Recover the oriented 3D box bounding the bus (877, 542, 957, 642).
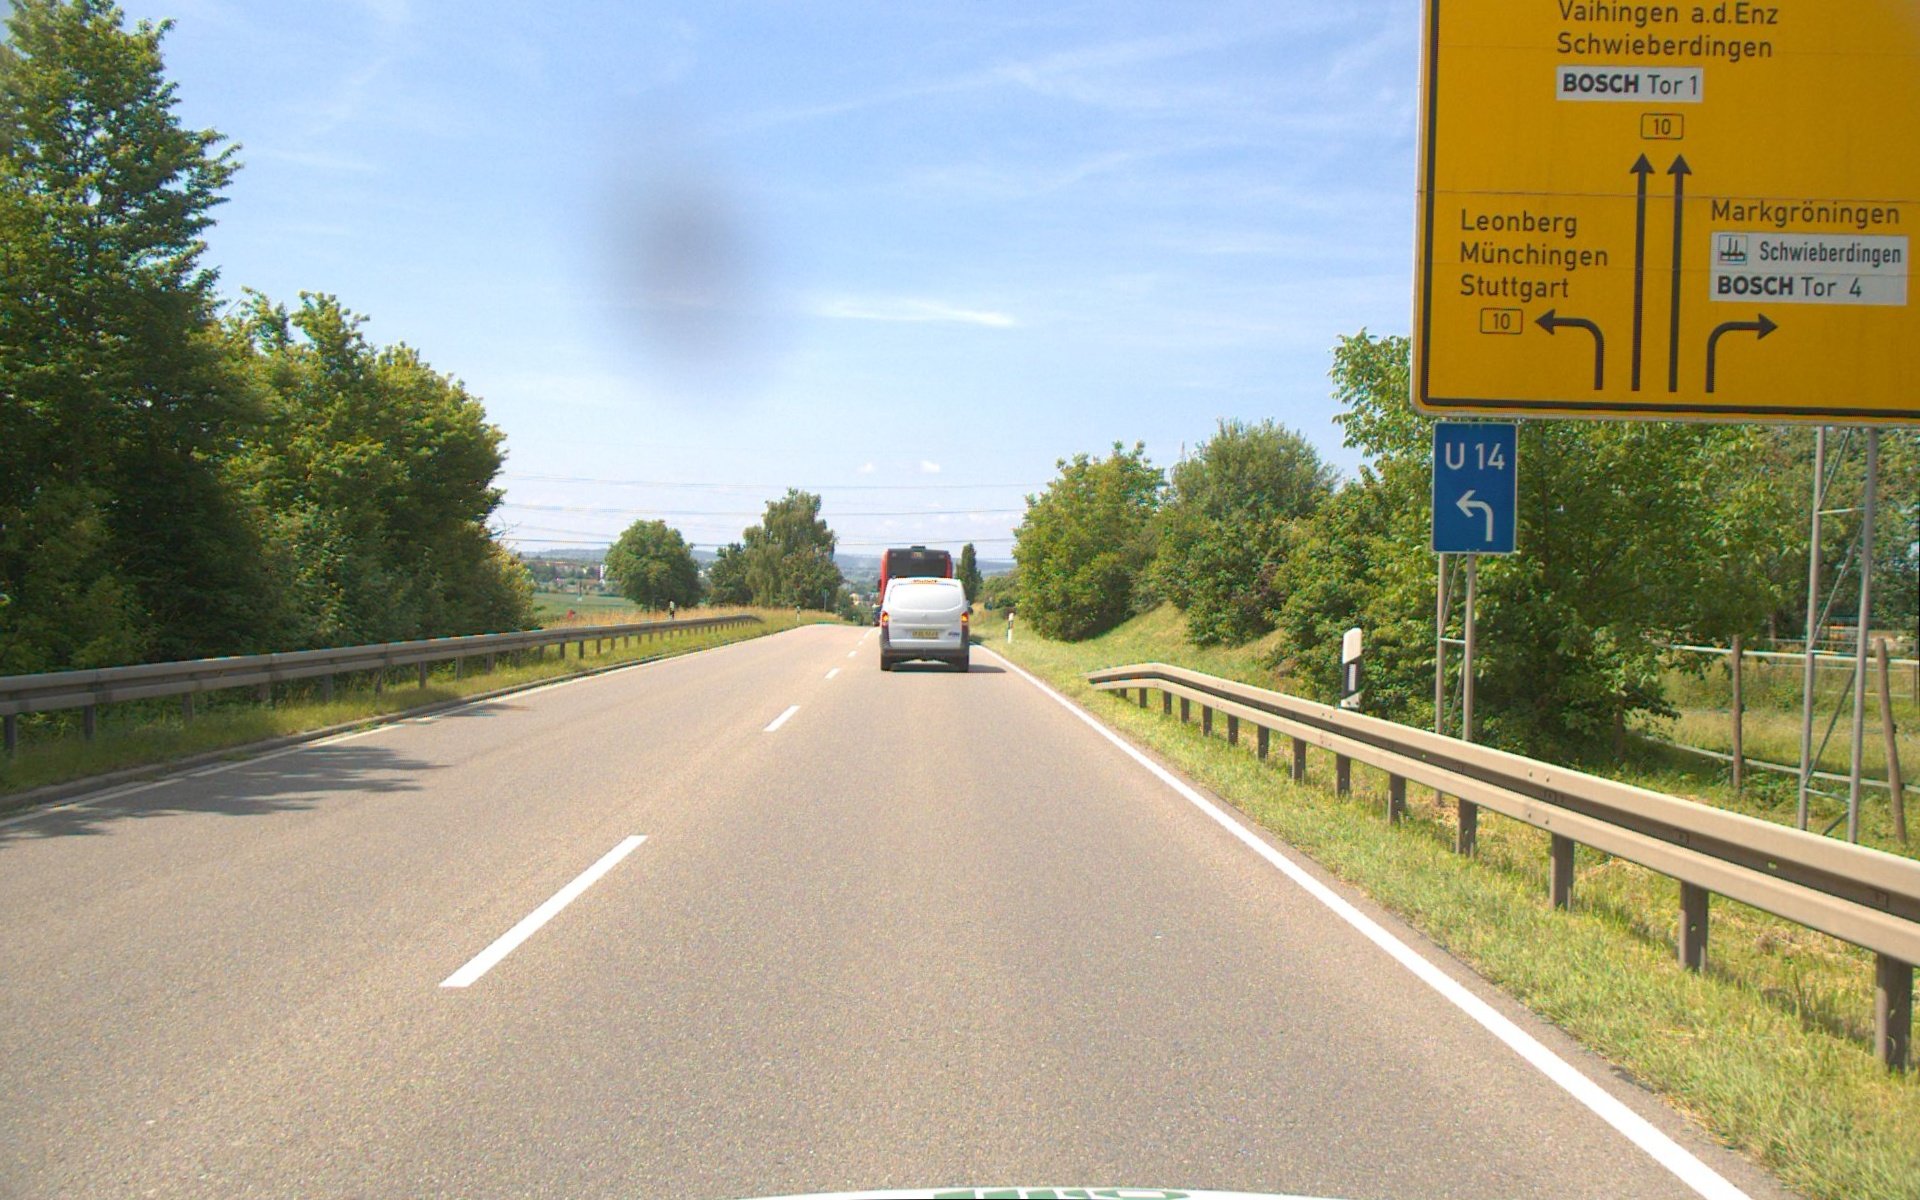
[{"bbox_3d":[-1.684,-0.374,63.119,2.692,3.412,13.217,0,1,-2],"label":"bus"}]

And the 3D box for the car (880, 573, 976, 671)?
[{"bbox_3d":[-0.655,0.412,35.189,1.884,1.922,4.000,1,1,0],"label":"car"}]
